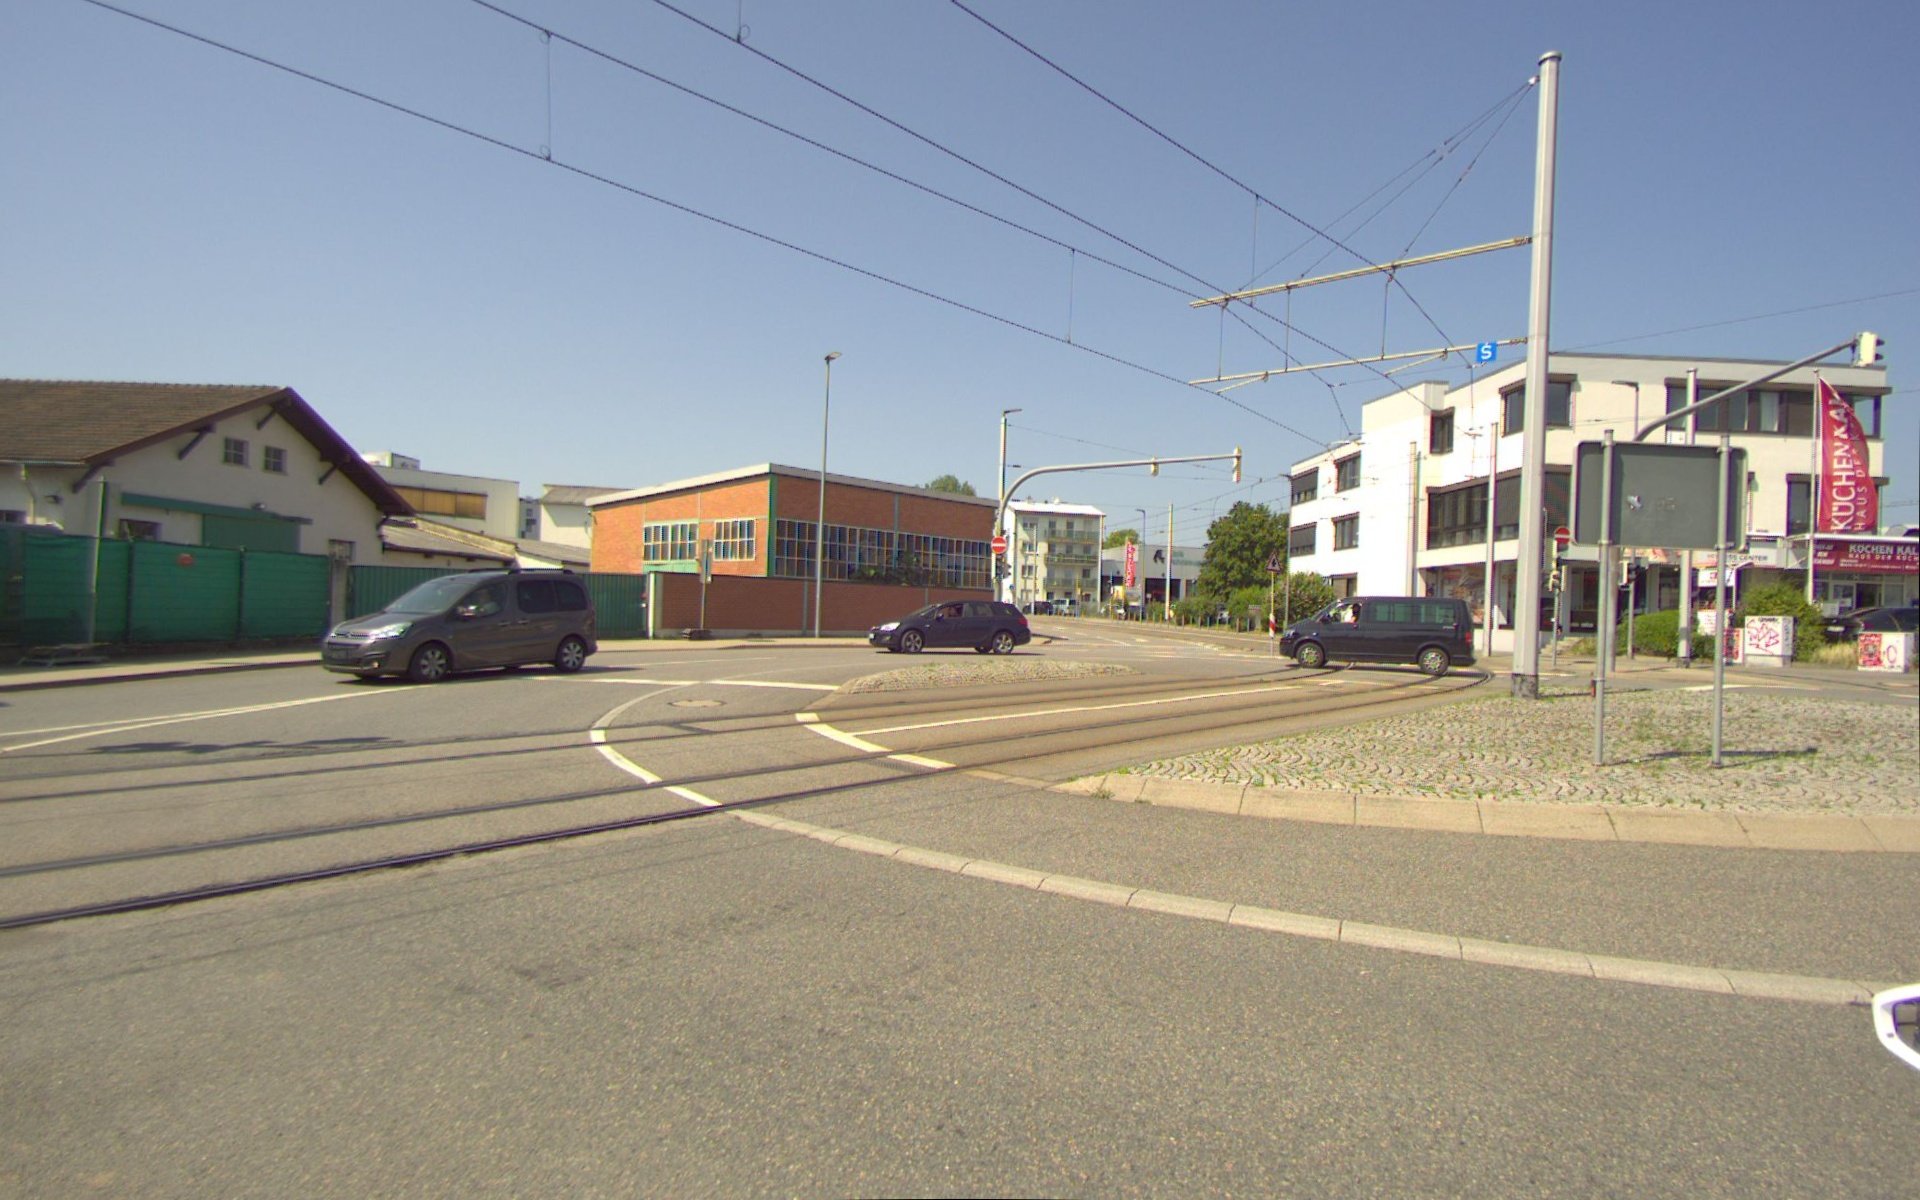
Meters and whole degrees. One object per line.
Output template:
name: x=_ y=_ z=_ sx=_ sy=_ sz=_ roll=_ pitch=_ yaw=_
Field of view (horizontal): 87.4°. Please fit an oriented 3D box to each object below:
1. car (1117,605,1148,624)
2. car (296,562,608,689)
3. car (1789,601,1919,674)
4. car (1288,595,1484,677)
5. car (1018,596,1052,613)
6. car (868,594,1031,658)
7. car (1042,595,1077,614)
car: x=16.796 y=1.372 z=97.894 sx=1.962 sy=1.806 sz=3.997 roll=1 pitch=0 yaw=-5
car: x=-8.395 y=0.372 z=17.047 sx=1.953 sy=1.843 sz=4.403 roll=1 pitch=0 yaw=28
car: x=27.252 y=1.085 z=28.901 sx=5.177 sy=1.992 sz=1.966 roll=1 pitch=0 yaw=-1
car: x=11.123 y=0.859 z=26.305 sx=4.553 sy=1.936 sz=2.095 roll=1 pitch=1 yaw=27
car: x=8.516 y=0.546 z=114.486 sx=1.977 sy=1.884 sz=3.968 roll=1 pitch=-2 yaw=-30
car: x=-0.322 y=0.725 z=28.191 sx=4.175 sy=1.577 sz=1.962 roll=2 pitch=0 yaw=-17
car: x=11.378 y=0.545 z=114.830 sx=1.977 sy=2.040 sz=3.968 roll=1 pitch=-2 yaw=-30
